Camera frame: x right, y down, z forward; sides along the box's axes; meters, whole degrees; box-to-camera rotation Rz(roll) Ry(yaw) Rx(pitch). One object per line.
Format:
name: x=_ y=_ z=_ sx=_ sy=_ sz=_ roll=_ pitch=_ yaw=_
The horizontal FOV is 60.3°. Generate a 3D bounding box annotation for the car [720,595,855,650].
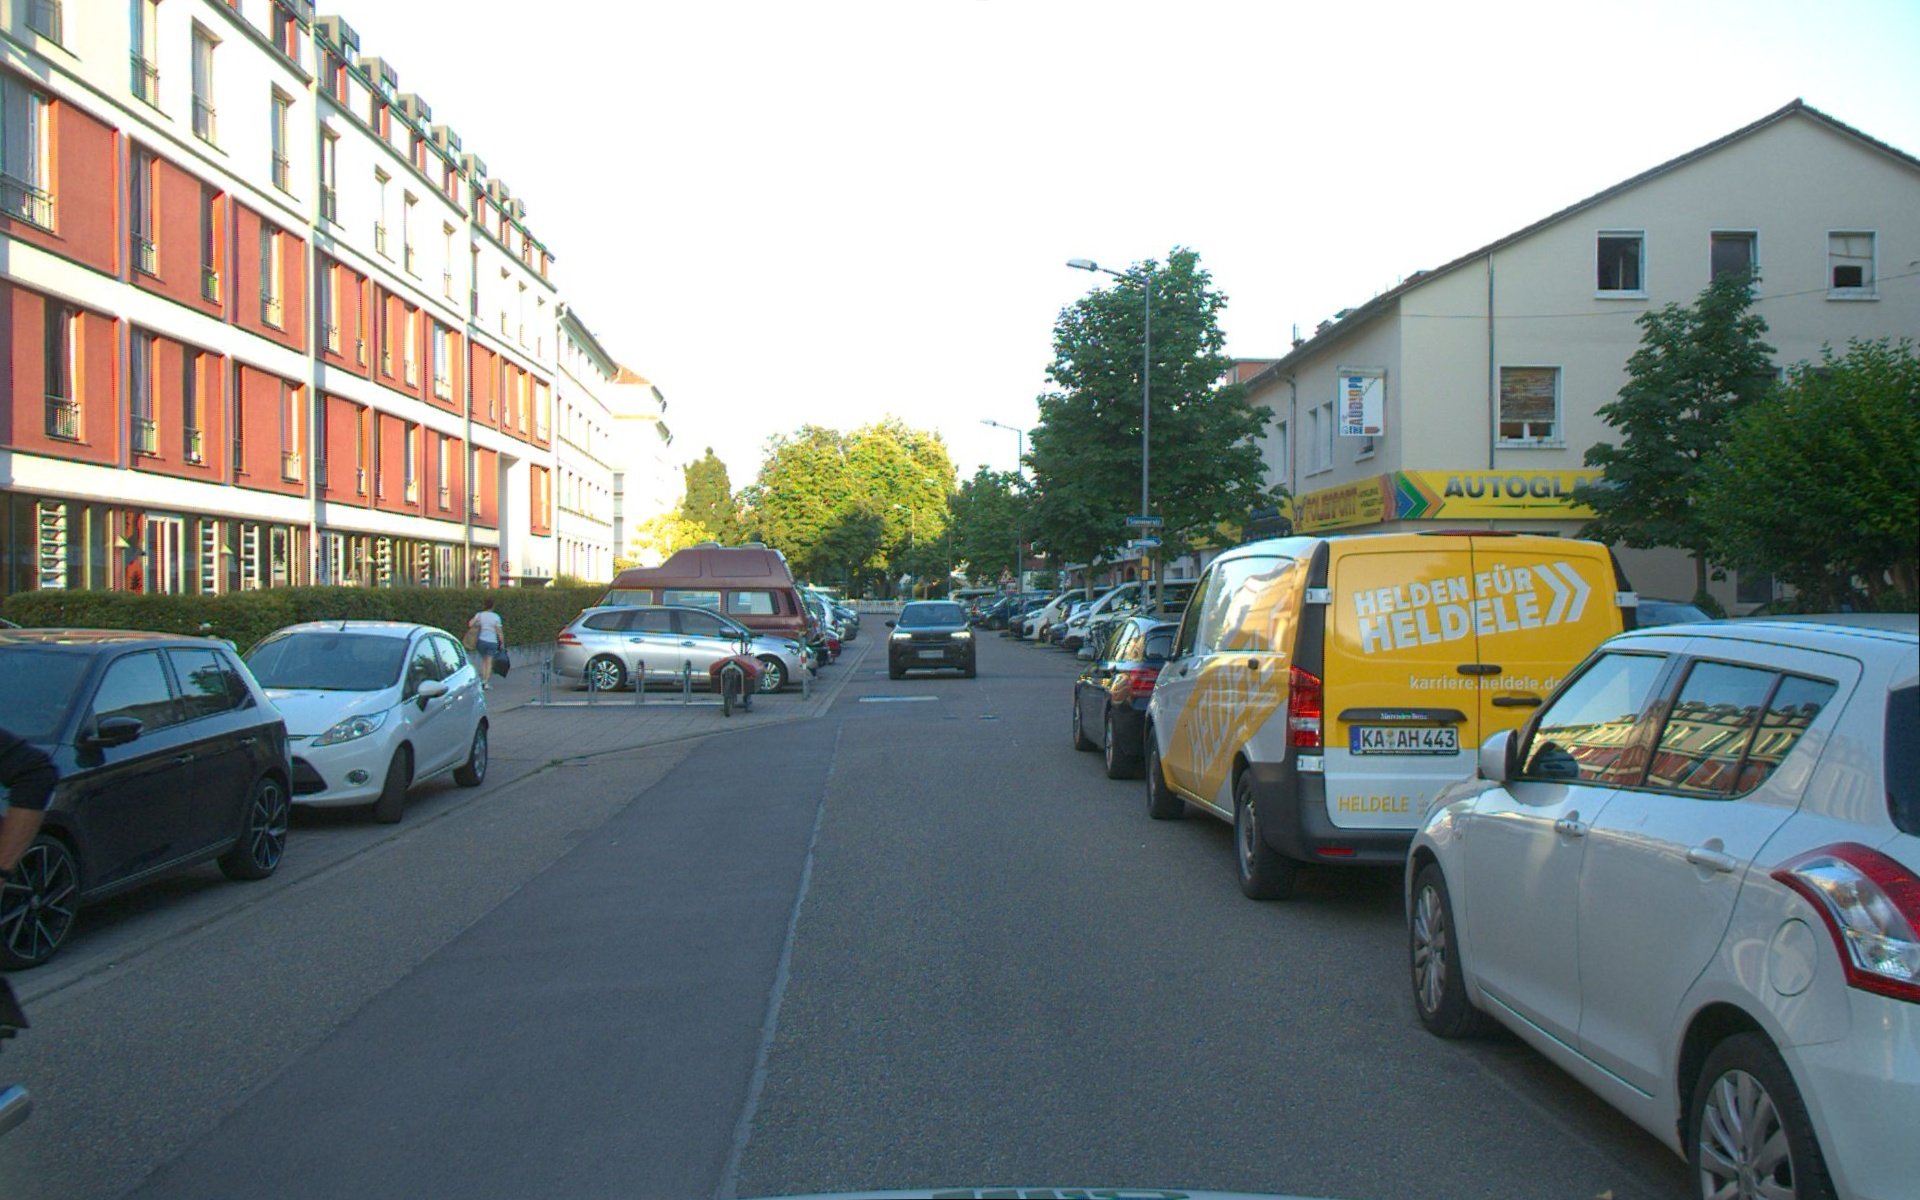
car: x=-5.540 y=0.722 z=53.579 sx=4.171 sy=1.681 sz=1.887 roll=1 pitch=0 yaw=-2

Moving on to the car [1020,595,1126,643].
car: x=4.768 y=0.778 z=70.010 sx=4.231 sy=1.835 sz=1.809 roll=-2 pitch=0 yaw=-4

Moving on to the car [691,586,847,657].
car: x=-5.343 y=0.598 z=46.756 sx=4.171 sy=1.868 sz=1.999 roll=1 pitch=0 yaw=-2

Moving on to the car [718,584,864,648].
car: x=-5.685 y=0.527 z=56.131 sx=4.753 sy=2.056 sz=1.906 roll=1 pitch=0 yaw=-2

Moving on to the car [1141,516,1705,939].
car: x=2.399 y=0.583 z=10.082 sx=1.855 sy=1.917 sz=5.080 roll=0 pitch=0 yaw=-2

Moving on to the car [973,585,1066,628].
car: x=2.946 y=0.337 z=82.535 sx=4.393 sy=1.945 sz=1.685 roll=-2 pitch=0 yaw=-7

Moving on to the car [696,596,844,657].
car: x=-5.596 y=0.777 z=49.221 sx=4.171 sy=1.689 sz=1.999 roll=1 pitch=0 yaw=-2

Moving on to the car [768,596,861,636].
car: x=-6.749 y=0.743 z=77.197 sx=4.171 sy=1.744 sz=1.999 roll=1 pitch=0 yaw=-2

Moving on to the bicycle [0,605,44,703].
bicycle: x=-12.247 y=0.637 z=20.224 sx=1.739 sy=1.168 sz=0.610 roll=1 pitch=0 yaw=1

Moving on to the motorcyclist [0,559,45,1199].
motorcyclist: x=-2.520 y=0.700 z=3.184 sx=0.870 sy=1.531 sz=0.970 roll=-3 pitch=0 yaw=8

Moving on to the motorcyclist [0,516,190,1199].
motorcyclist: x=-2.390 y=0.617 z=3.943 sx=0.770 sy=1.567 sz=0.546 roll=-3 pitch=-1 yaw=8

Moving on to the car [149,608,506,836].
car: x=-4.936 y=0.857 z=13.492 sx=1.618 sy=1.557 sz=4.013 roll=0 pitch=0 yaw=-4

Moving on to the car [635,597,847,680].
car: x=-4.398 y=0.763 z=33.753 sx=4.125 sy=1.565 sz=1.789 roll=1 pitch=0 yaw=-4

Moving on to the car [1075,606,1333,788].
car: x=2.158 y=0.810 z=15.710 sx=1.687 sy=1.449 sz=4.251 roll=1 pitch=0 yaw=-2

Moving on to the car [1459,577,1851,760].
car: x=6.404 y=0.566 z=15.849 sx=1.692 sy=1.449 sz=4.421 roll=-2 pitch=0 yaw=-3

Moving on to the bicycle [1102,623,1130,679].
bicycle: x=3.576 y=1.148 z=38.014 sx=0.378 sy=1.221 sz=2.017 roll=-1 pitch=0 yaw=-1

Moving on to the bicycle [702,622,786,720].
bicycle: x=-3.015 y=0.961 z=23.348 sx=0.791 sy=1.243 sz=2.865 roll=1 pitch=0 yaw=0

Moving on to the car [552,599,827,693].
car: x=-4.581 y=0.780 z=28.601 sx=4.525 sy=1.486 sz=1.879 roll=1 pitch=0 yaw=-5

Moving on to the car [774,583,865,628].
car: x=-7.155 y=0.269 z=84.597 sx=4.442 sy=2.171 sz=1.999 roll=1 pitch=0 yaw=-2

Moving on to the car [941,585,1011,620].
car: x=0.913 y=0.147 z=98.074 sx=3.892 sy=1.945 sz=2.046 roll=-2 pitch=0 yaw=-7

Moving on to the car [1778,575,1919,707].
car: x=13.676 y=0.540 z=22.444 sx=4.233 sy=1.702 sz=1.877 roll=-1 pitch=-2 yaw=-4

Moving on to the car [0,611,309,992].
car: x=-4.872 y=0.850 z=8.417 sx=1.669 sy=1.561 sz=3.843 roll=0 pitch=0 yaw=-2

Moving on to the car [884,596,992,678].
car: x=-0.392 y=0.710 z=34.066 sx=1.742 sy=1.544 sz=4.003 roll=-2 pitch=0 yaw=6

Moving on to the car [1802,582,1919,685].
car: x=18.616 y=0.603 z=32.304 sx=1.835 sy=1.863 sz=4.575 roll=-1 pitch=1 yaw=-3

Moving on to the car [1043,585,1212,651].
car: x=5.051 y=0.544 z=50.348 sx=4.844 sy=1.772 sz=2.049 roll=-2 pitch=0 yaw=-1

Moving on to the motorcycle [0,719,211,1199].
motorcycle: x=-2.498 y=0.946 z=3.263 sx=0.828 sy=1.230 sz=2.076 roll=-3 pitch=0 yaw=8

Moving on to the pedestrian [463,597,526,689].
pedestrian: x=-7.905 y=0.724 z=28.126 sx=0.815 sy=1.527 sz=0.798 roll=1 pitch=0 yaw=-1

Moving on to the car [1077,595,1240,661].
car: x=5.030 y=0.704 z=42.215 sx=3.841 sy=1.476 sz=1.767 roll=-2 pitch=0 yaw=-4

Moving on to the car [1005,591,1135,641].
car: x=4.290 y=0.615 z=65.090 sx=4.846 sy=1.718 sz=2.075 roll=-2 pitch=0 yaw=-4

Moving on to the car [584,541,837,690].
car: x=-4.621 y=0.283 z=31.179 sx=4.419 sy=2.629 sz=2.000 roll=1 pitch=0 yaw=0

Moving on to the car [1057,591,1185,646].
car: x=5.127 y=0.580 z=52.984 sx=3.832 sy=1.552 sz=1.938 roll=-2 pitch=0 yaw=-1

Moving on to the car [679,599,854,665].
car: x=-4.785 y=0.781 z=41.351 sx=4.123 sy=1.516 sz=1.849 roll=1 pitch=0 yaw=-1

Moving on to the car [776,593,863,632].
car: x=-6.938 y=0.611 z=81.965 sx=4.171 sy=1.780 sz=1.999 roll=1 pitch=0 yaw=-2

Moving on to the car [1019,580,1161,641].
car: x=4.686 y=0.376 z=60.159 sx=4.846 sy=1.992 sz=2.048 roll=-2 pitch=0 yaw=-4

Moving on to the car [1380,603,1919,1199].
car: x=2.499 y=0.769 z=4.785 sx=1.640 sy=1.503 sz=3.862 roll=0 pitch=0 yaw=1

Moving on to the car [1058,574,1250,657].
car: x=5.214 y=0.405 z=45.008 sx=4.889 sy=2.018 sz=2.219 roll=-2 pitch=0 yaw=-1

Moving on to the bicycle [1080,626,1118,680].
bicycle: x=3.172 y=1.200 z=37.815 sx=0.430 sy=1.150 sz=2.014 roll=-1 pitch=0 yaw=-7
